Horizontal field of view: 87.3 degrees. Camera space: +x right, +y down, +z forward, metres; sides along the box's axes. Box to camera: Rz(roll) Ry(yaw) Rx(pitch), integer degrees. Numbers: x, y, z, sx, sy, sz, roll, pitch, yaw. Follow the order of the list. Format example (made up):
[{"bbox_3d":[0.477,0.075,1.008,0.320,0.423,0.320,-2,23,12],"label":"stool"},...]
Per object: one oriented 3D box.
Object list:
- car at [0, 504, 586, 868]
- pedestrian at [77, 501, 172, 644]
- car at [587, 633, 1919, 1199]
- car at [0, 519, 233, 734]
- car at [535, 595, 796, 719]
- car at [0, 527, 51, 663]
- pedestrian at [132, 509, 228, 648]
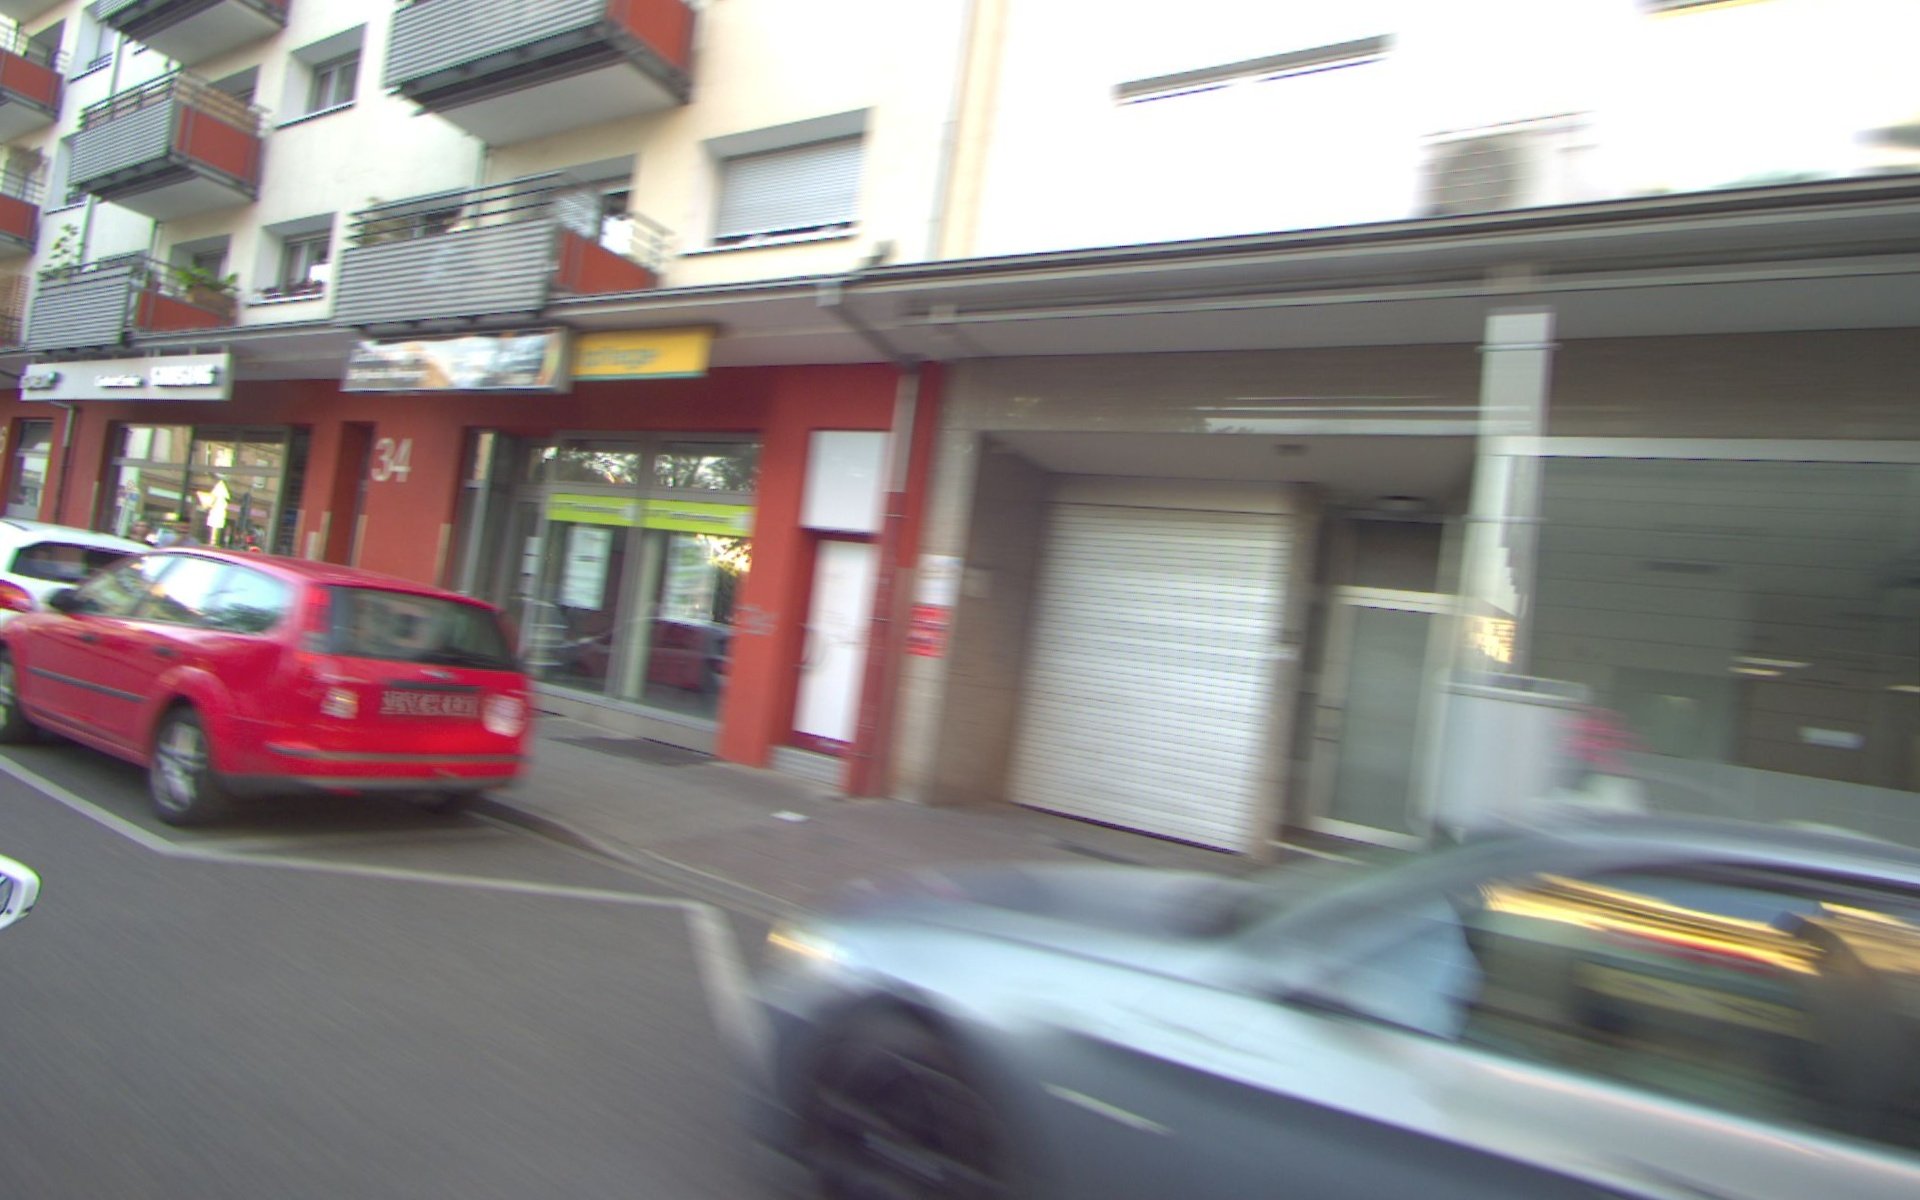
[{"bbox_3d":[-4.851,0.407,6.734,4.573,1.527,1.719,7,-5,30],"label":"car"},{"bbox_3d":[-10.421,-0.340,12.554,0.644,1.682,0.648,7,1,34],"label":"pedestrian"},{"bbox_3d":[1.488,1.179,2.355,4.603,1.429,1.743,7,-5,30],"label":"car"},{"bbox_3d":[-8.566,0.080,9.187,3.982,1.527,1.611,7,-5,33],"label":"car"},{"bbox_3d":[-4.722,0.877,15.958,3.936,1.352,1.742,7,-2,34],"label":"car"},{"bbox_3d":[-12.855,-0.375,11.894,4.383,1.467,1.705,7,-5,30],"label":"car"},{"bbox_3d":[-10.061,-0.271,12.981,0.781,1.682,0.648,7,1,34],"label":"pedestrian"}]
